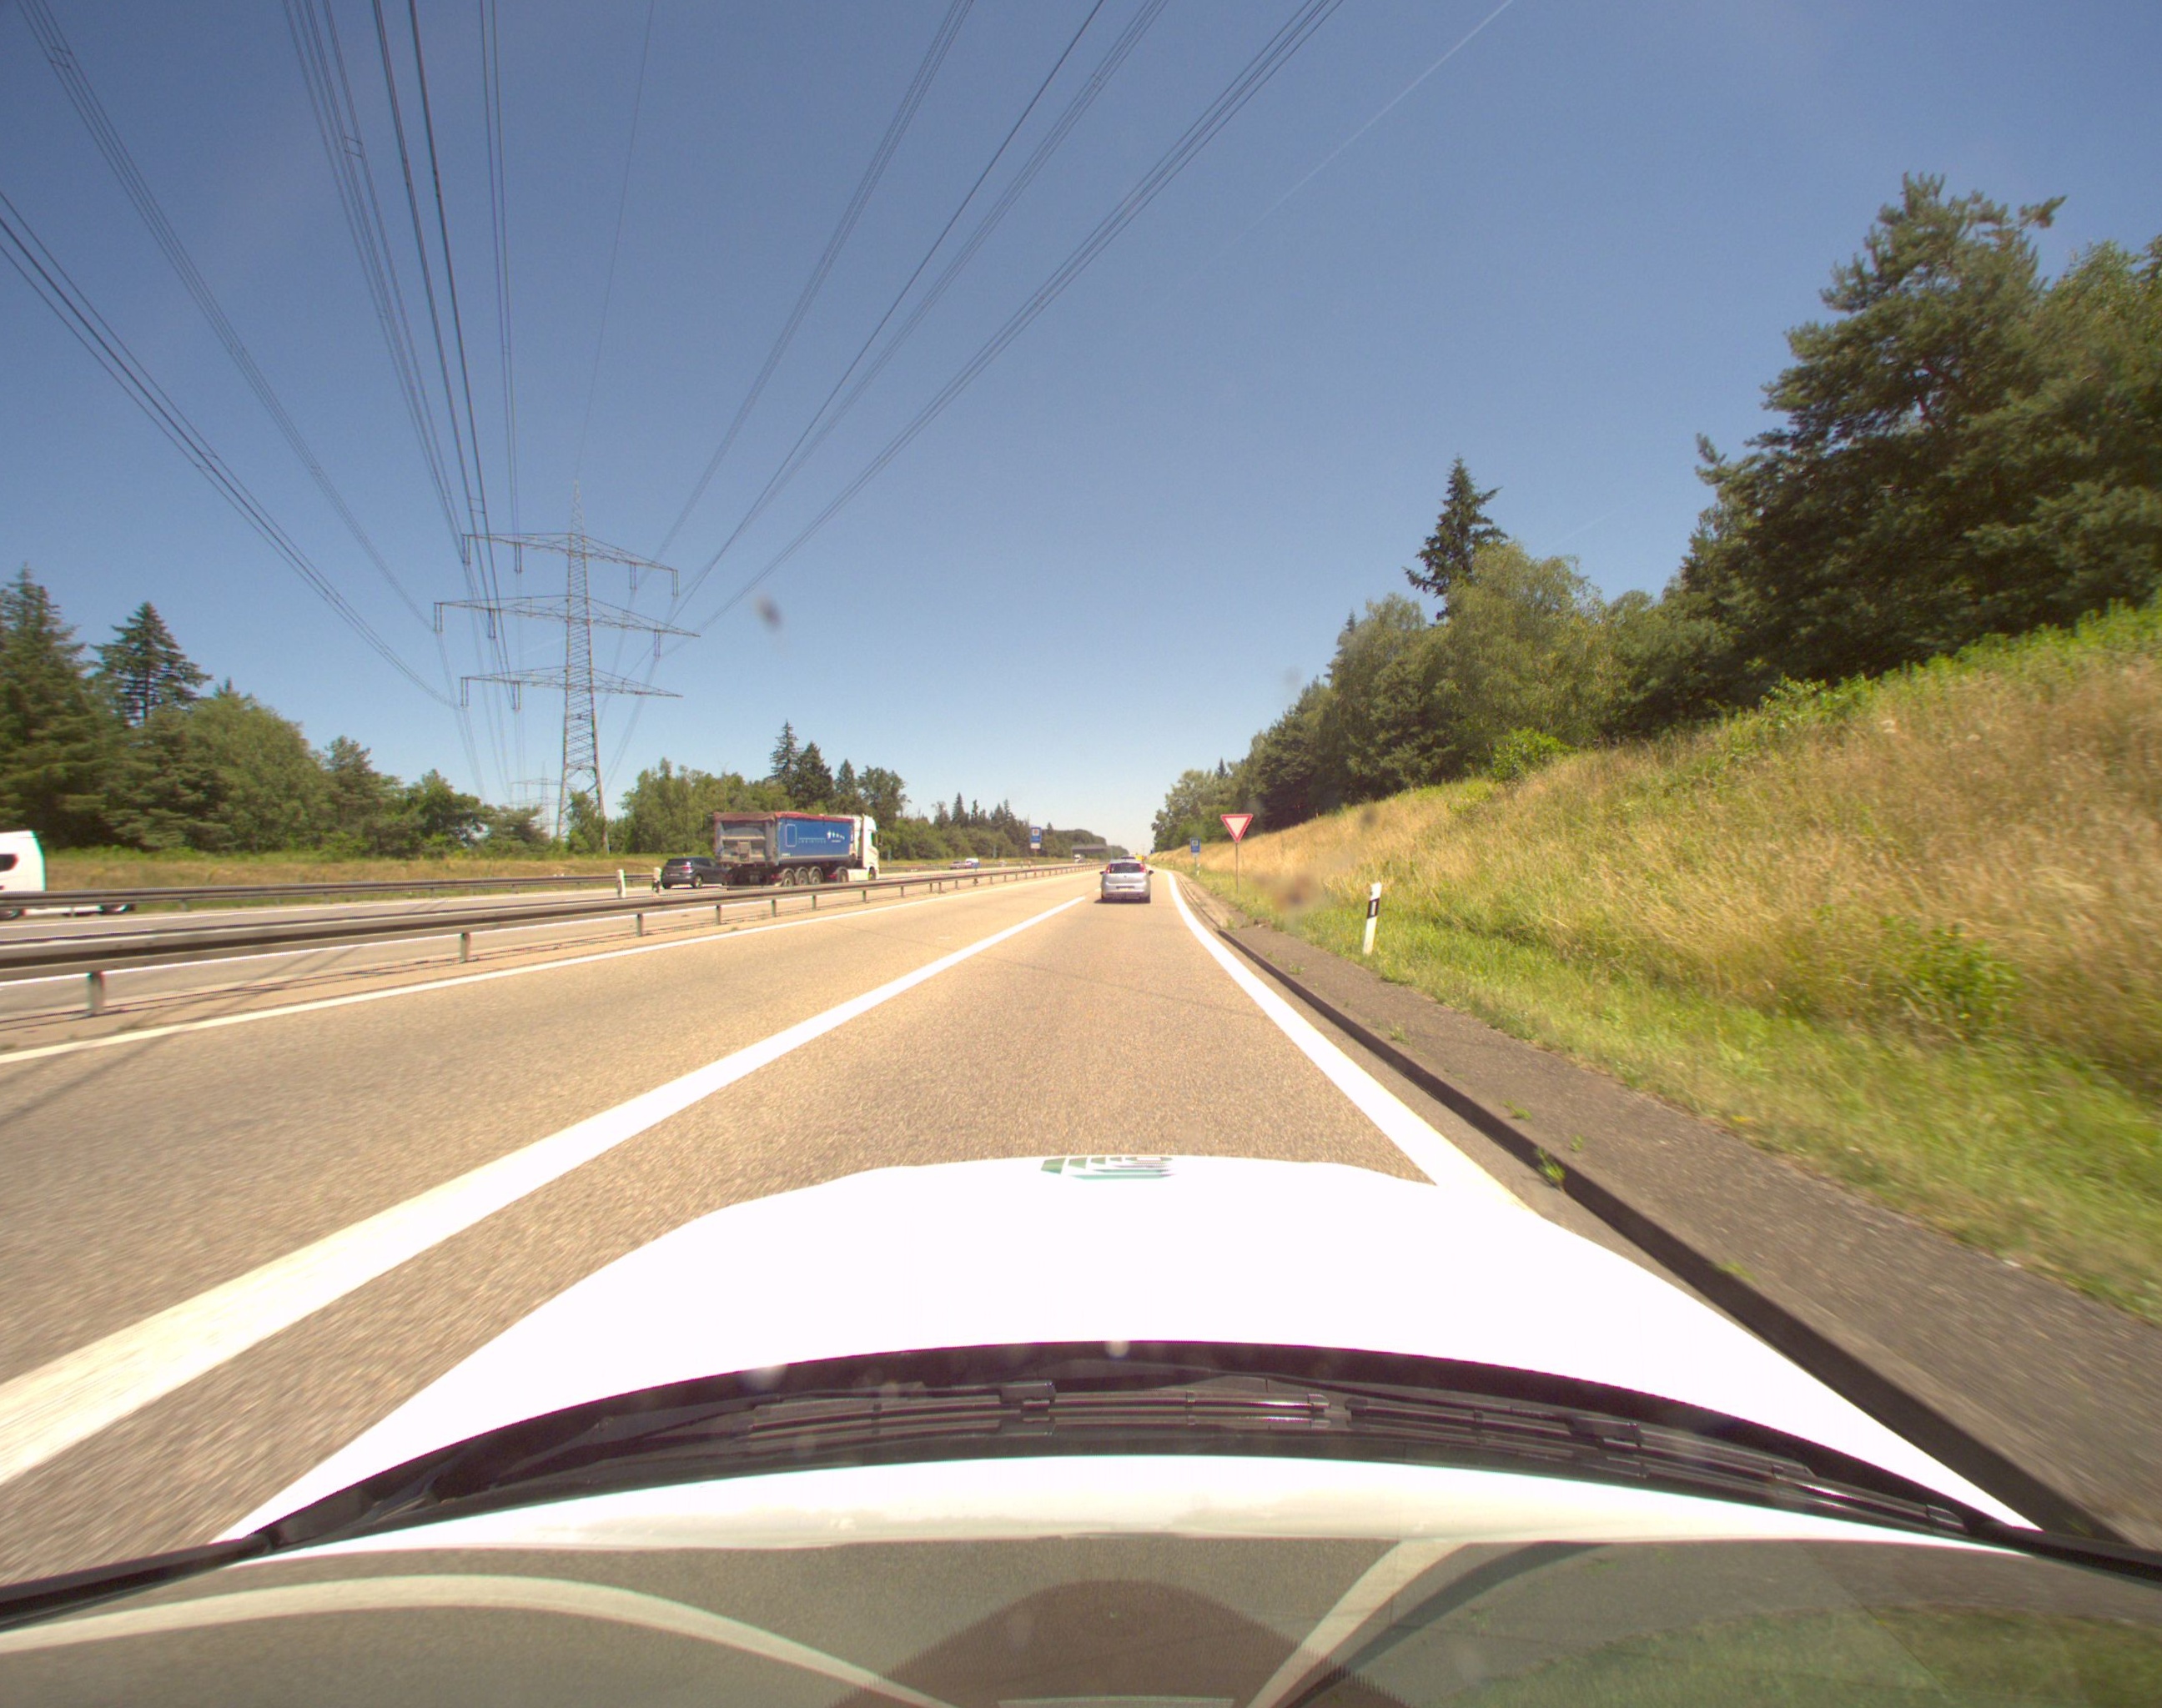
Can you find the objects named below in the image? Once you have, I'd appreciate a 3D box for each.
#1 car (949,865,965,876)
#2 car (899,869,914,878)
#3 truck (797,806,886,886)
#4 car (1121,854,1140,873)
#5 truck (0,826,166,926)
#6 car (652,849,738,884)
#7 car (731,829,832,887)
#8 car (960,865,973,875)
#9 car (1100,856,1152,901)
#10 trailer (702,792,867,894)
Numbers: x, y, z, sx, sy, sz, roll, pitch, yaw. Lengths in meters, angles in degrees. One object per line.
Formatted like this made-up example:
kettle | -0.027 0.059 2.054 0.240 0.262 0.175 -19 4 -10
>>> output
car | -22.100 2.943 144.907 1.985 1.783 4.004 -1 -1 4
car | -35.481 3.884 165.626 1.985 1.783 4.002 -1 -1 2
truck | -12.042 -0.362 41.368 2.743 3.807 4.629 -1 0 5
car | 4.623 0.888 76.773 1.699 1.676 3.399 -1 -2 3
truck | -48.296 1.050 37.666 2.844 4.345 7.545 -1 -2 7
car | -19.928 0.699 42.309 1.763 1.684 4.832 -1 -2 6
car | -15.933 0.292 43.922 2.227 2.833 7.064 -1 -2 6
car | -28.906 4.065 205.543 1.986 2.544 6.916 -1 -2 2
car | 1.598 0.804 28.270 1.699 1.482 3.401 0 0 4
trailer | -12.578 -0.385 35.906 2.757 3.807 9.900 -1 0 6
